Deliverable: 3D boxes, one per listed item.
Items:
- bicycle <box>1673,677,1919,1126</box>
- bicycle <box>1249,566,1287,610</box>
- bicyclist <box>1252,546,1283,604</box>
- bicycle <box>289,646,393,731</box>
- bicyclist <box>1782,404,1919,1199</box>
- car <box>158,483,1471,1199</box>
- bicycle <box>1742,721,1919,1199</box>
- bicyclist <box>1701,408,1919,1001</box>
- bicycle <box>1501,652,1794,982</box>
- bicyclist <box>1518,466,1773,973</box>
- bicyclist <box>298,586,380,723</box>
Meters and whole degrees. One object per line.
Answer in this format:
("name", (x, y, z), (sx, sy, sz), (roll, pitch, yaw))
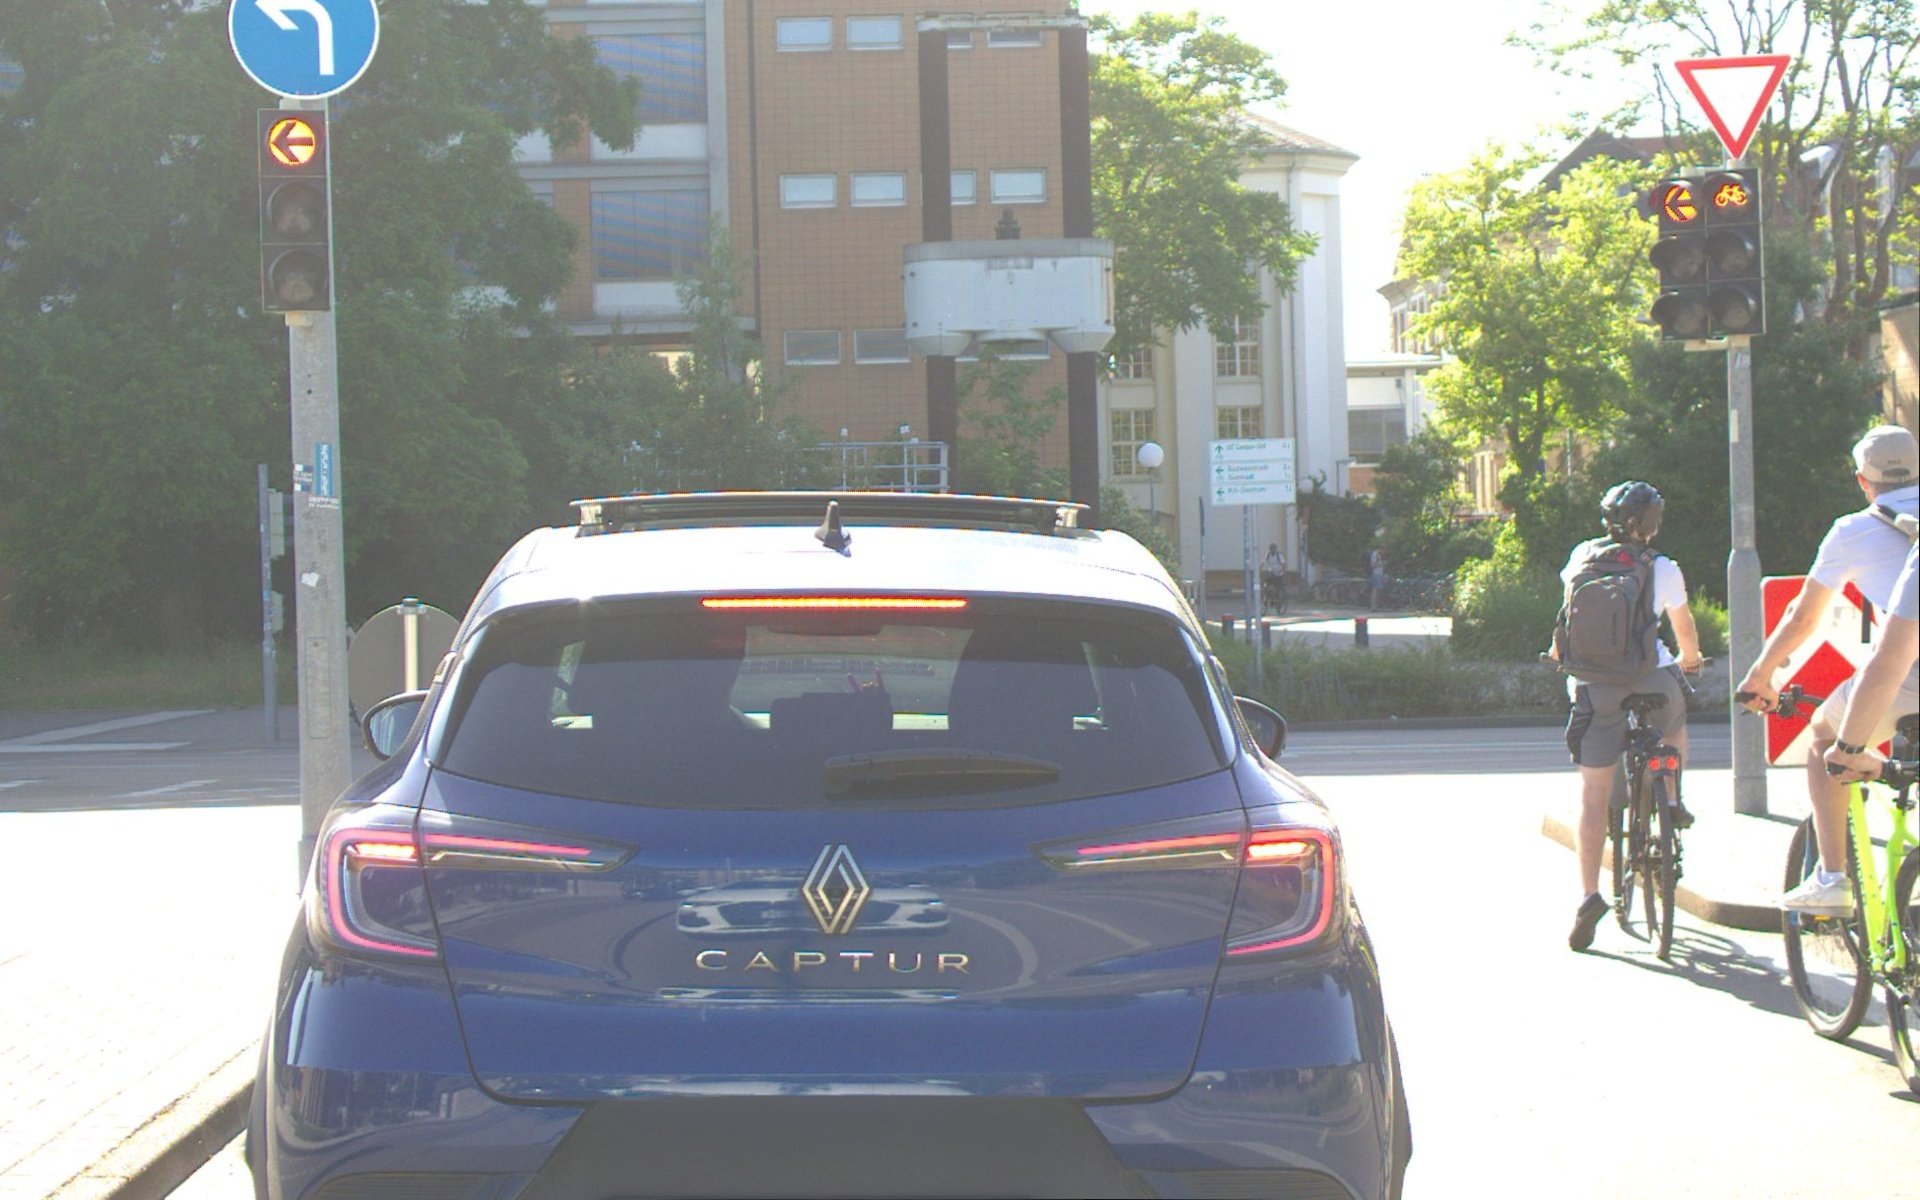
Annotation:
("bicycle", (2.587, 0.797, 9.801), (0.689, 1.085, 1.922), (0, 1, -1))
("bicycle", (8.048, -0.321, 89.931), (0.694, 1.136, 2.441), (-1, 1, -1))
("bicyclist", (8.045, -0.656, 89.867), (0.694, 1.476, 0.717), (-1, 1, -1))
("bicycle", (-7.890, 1.117, 43.910), (0.755, 0.981, 2.093), (-1, 1, 5))
("bicyclist", (2.227, 0.499, 7.293), (0.683, 1.785, 1.142), (0, 1, -1))
("car", (-0.276, 0.607, 6.652), (1.788, 1.580, 3.915), (0, 1, -2))
("bicycle", (2.220, 0.843, 7.235), (0.689, 1.085, 1.922), (0, 1, -1))
("bicyclist", (2.577, 0.273, 9.783), (0.678, 1.589, 1.142), (0, 1, -1))
("bicycle", (2.524, 0.764, 12.830), (0.689, 1.085, 1.922), (0, 1, -1))
("bicyclist", (2.502, 0.414, 12.665), (0.699, 1.785, 1.142), (0, 1, -1))
("bicyclist", (-7.910, 0.686, 43.800), (0.755, 1.710, 0.998), (-1, 1, 5))
